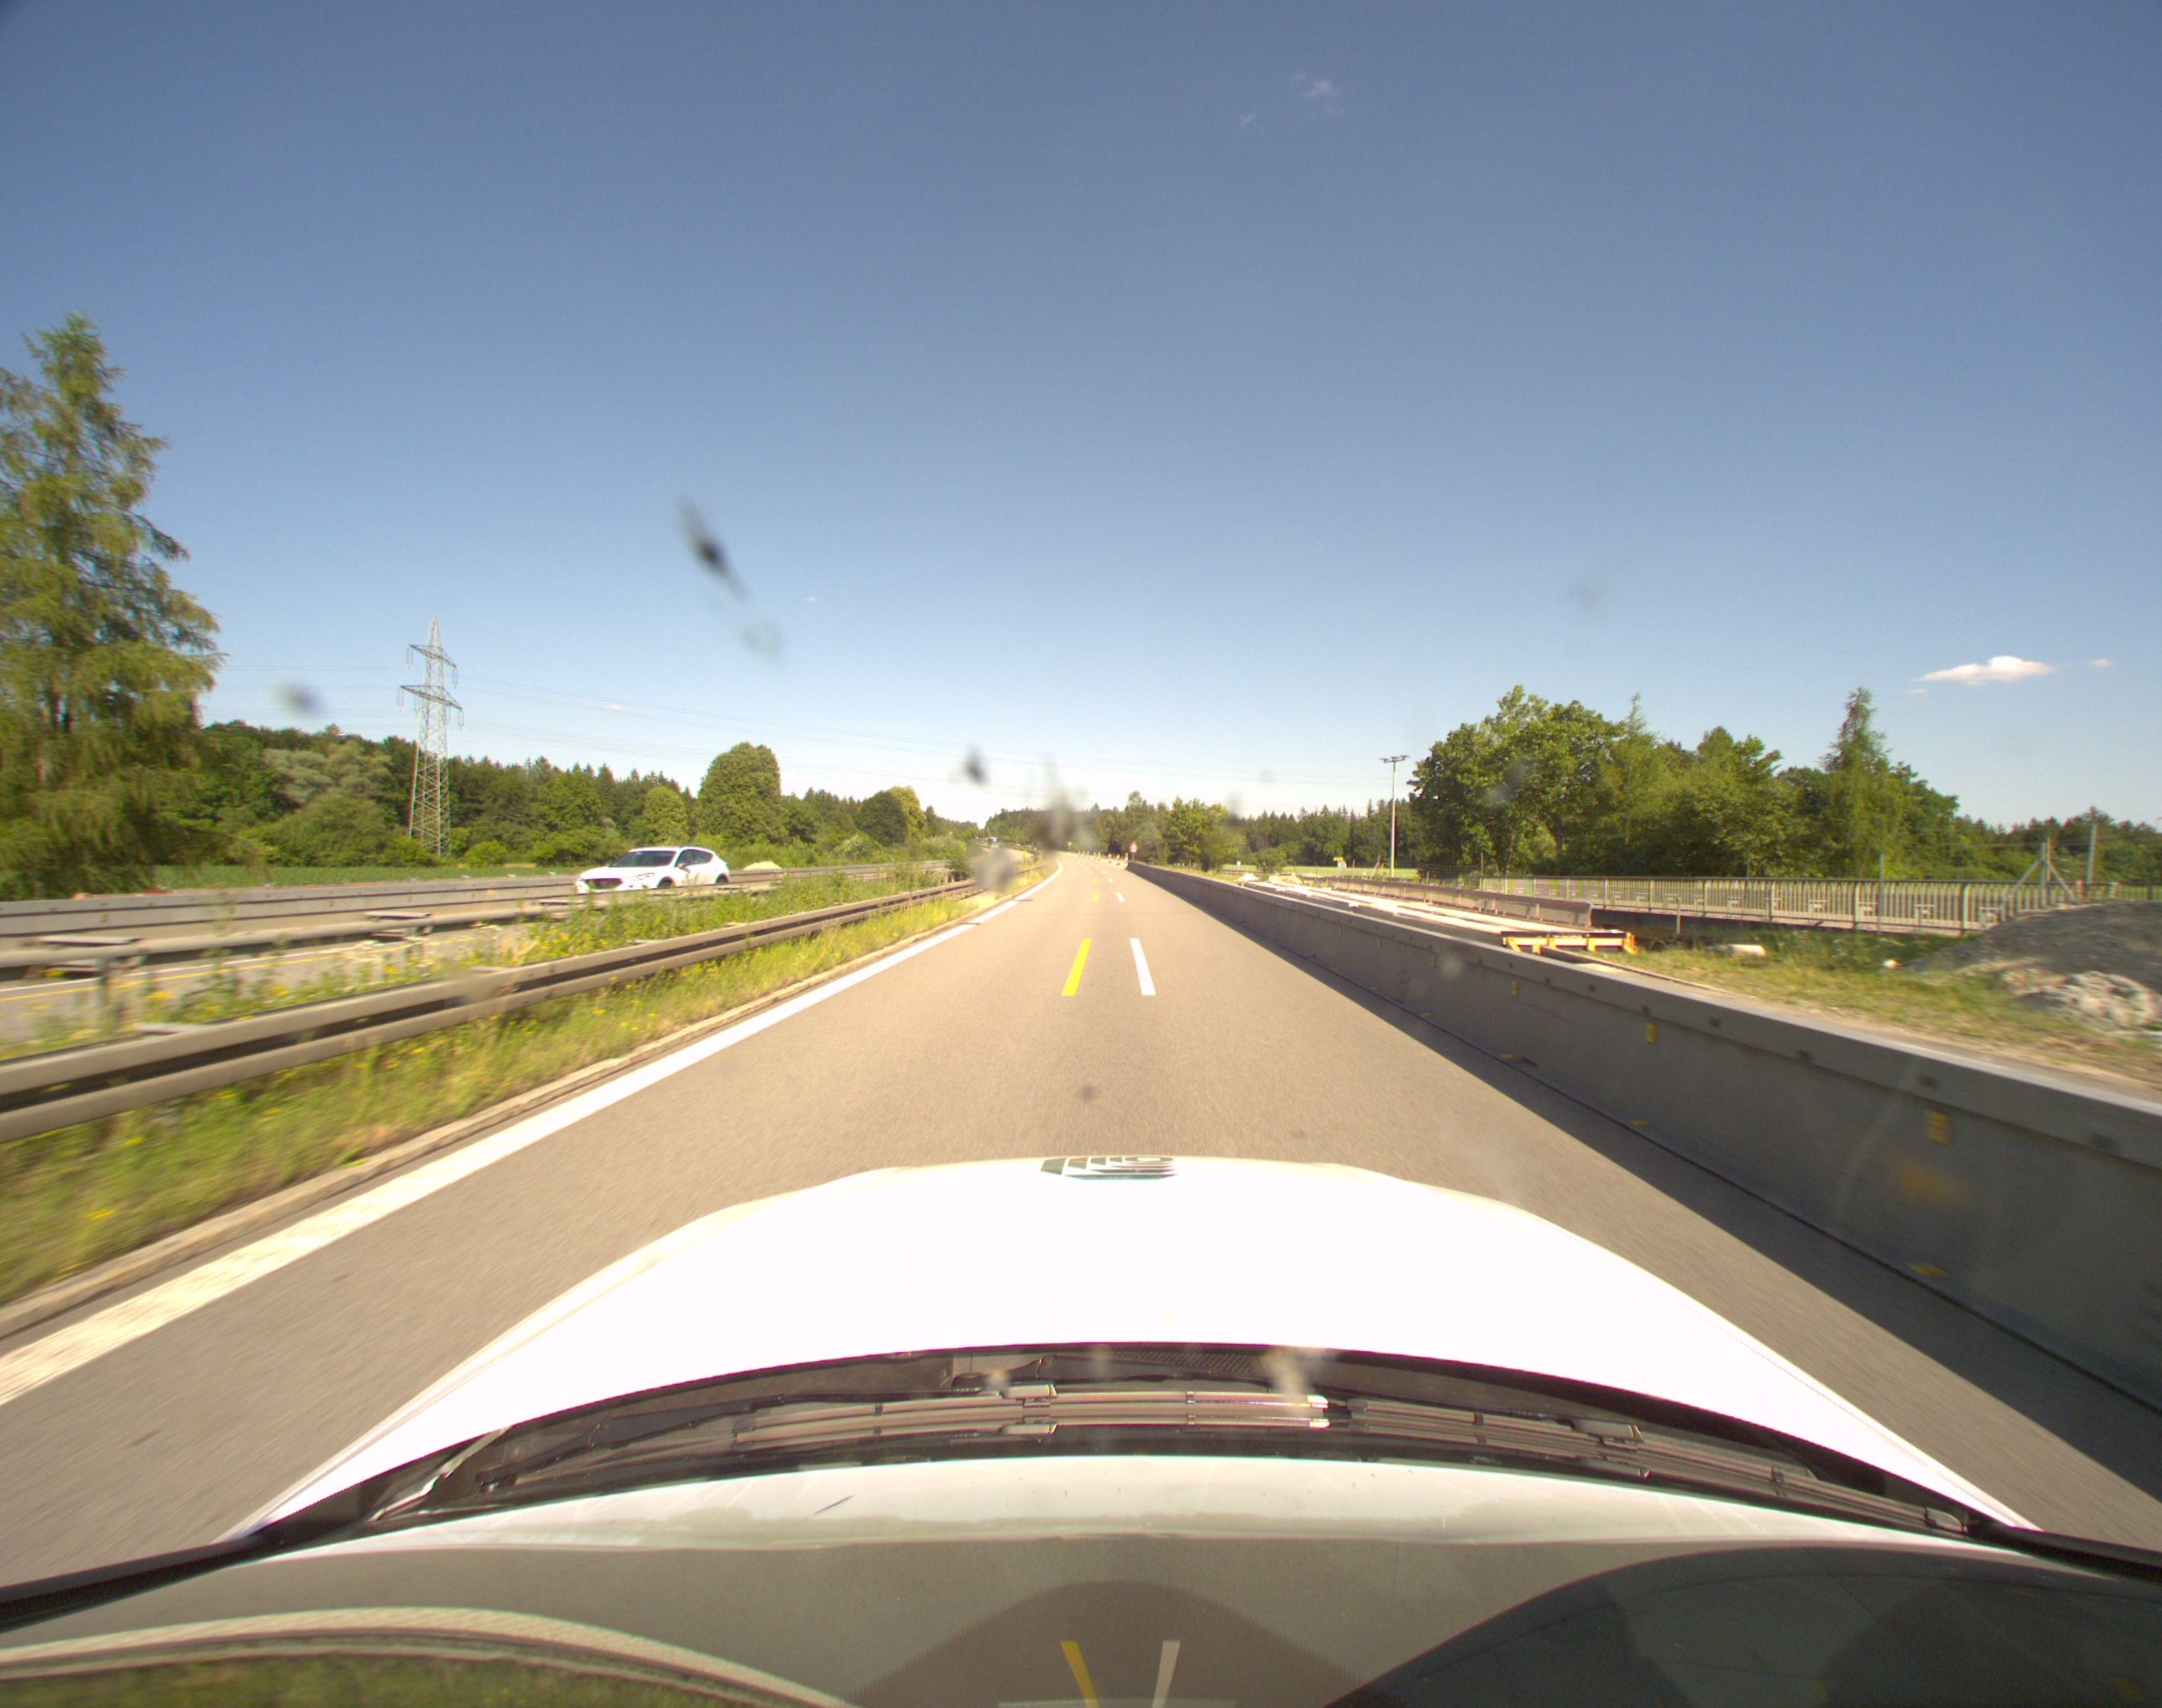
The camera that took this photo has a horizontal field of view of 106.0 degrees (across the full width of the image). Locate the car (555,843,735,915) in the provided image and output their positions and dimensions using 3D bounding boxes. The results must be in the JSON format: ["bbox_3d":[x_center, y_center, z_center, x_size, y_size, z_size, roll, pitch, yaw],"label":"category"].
[{"bbox_3d":[-10.156,0.553,19.444,1.753,1.512,4.536,-1,-1,2],"label":"car"}]
